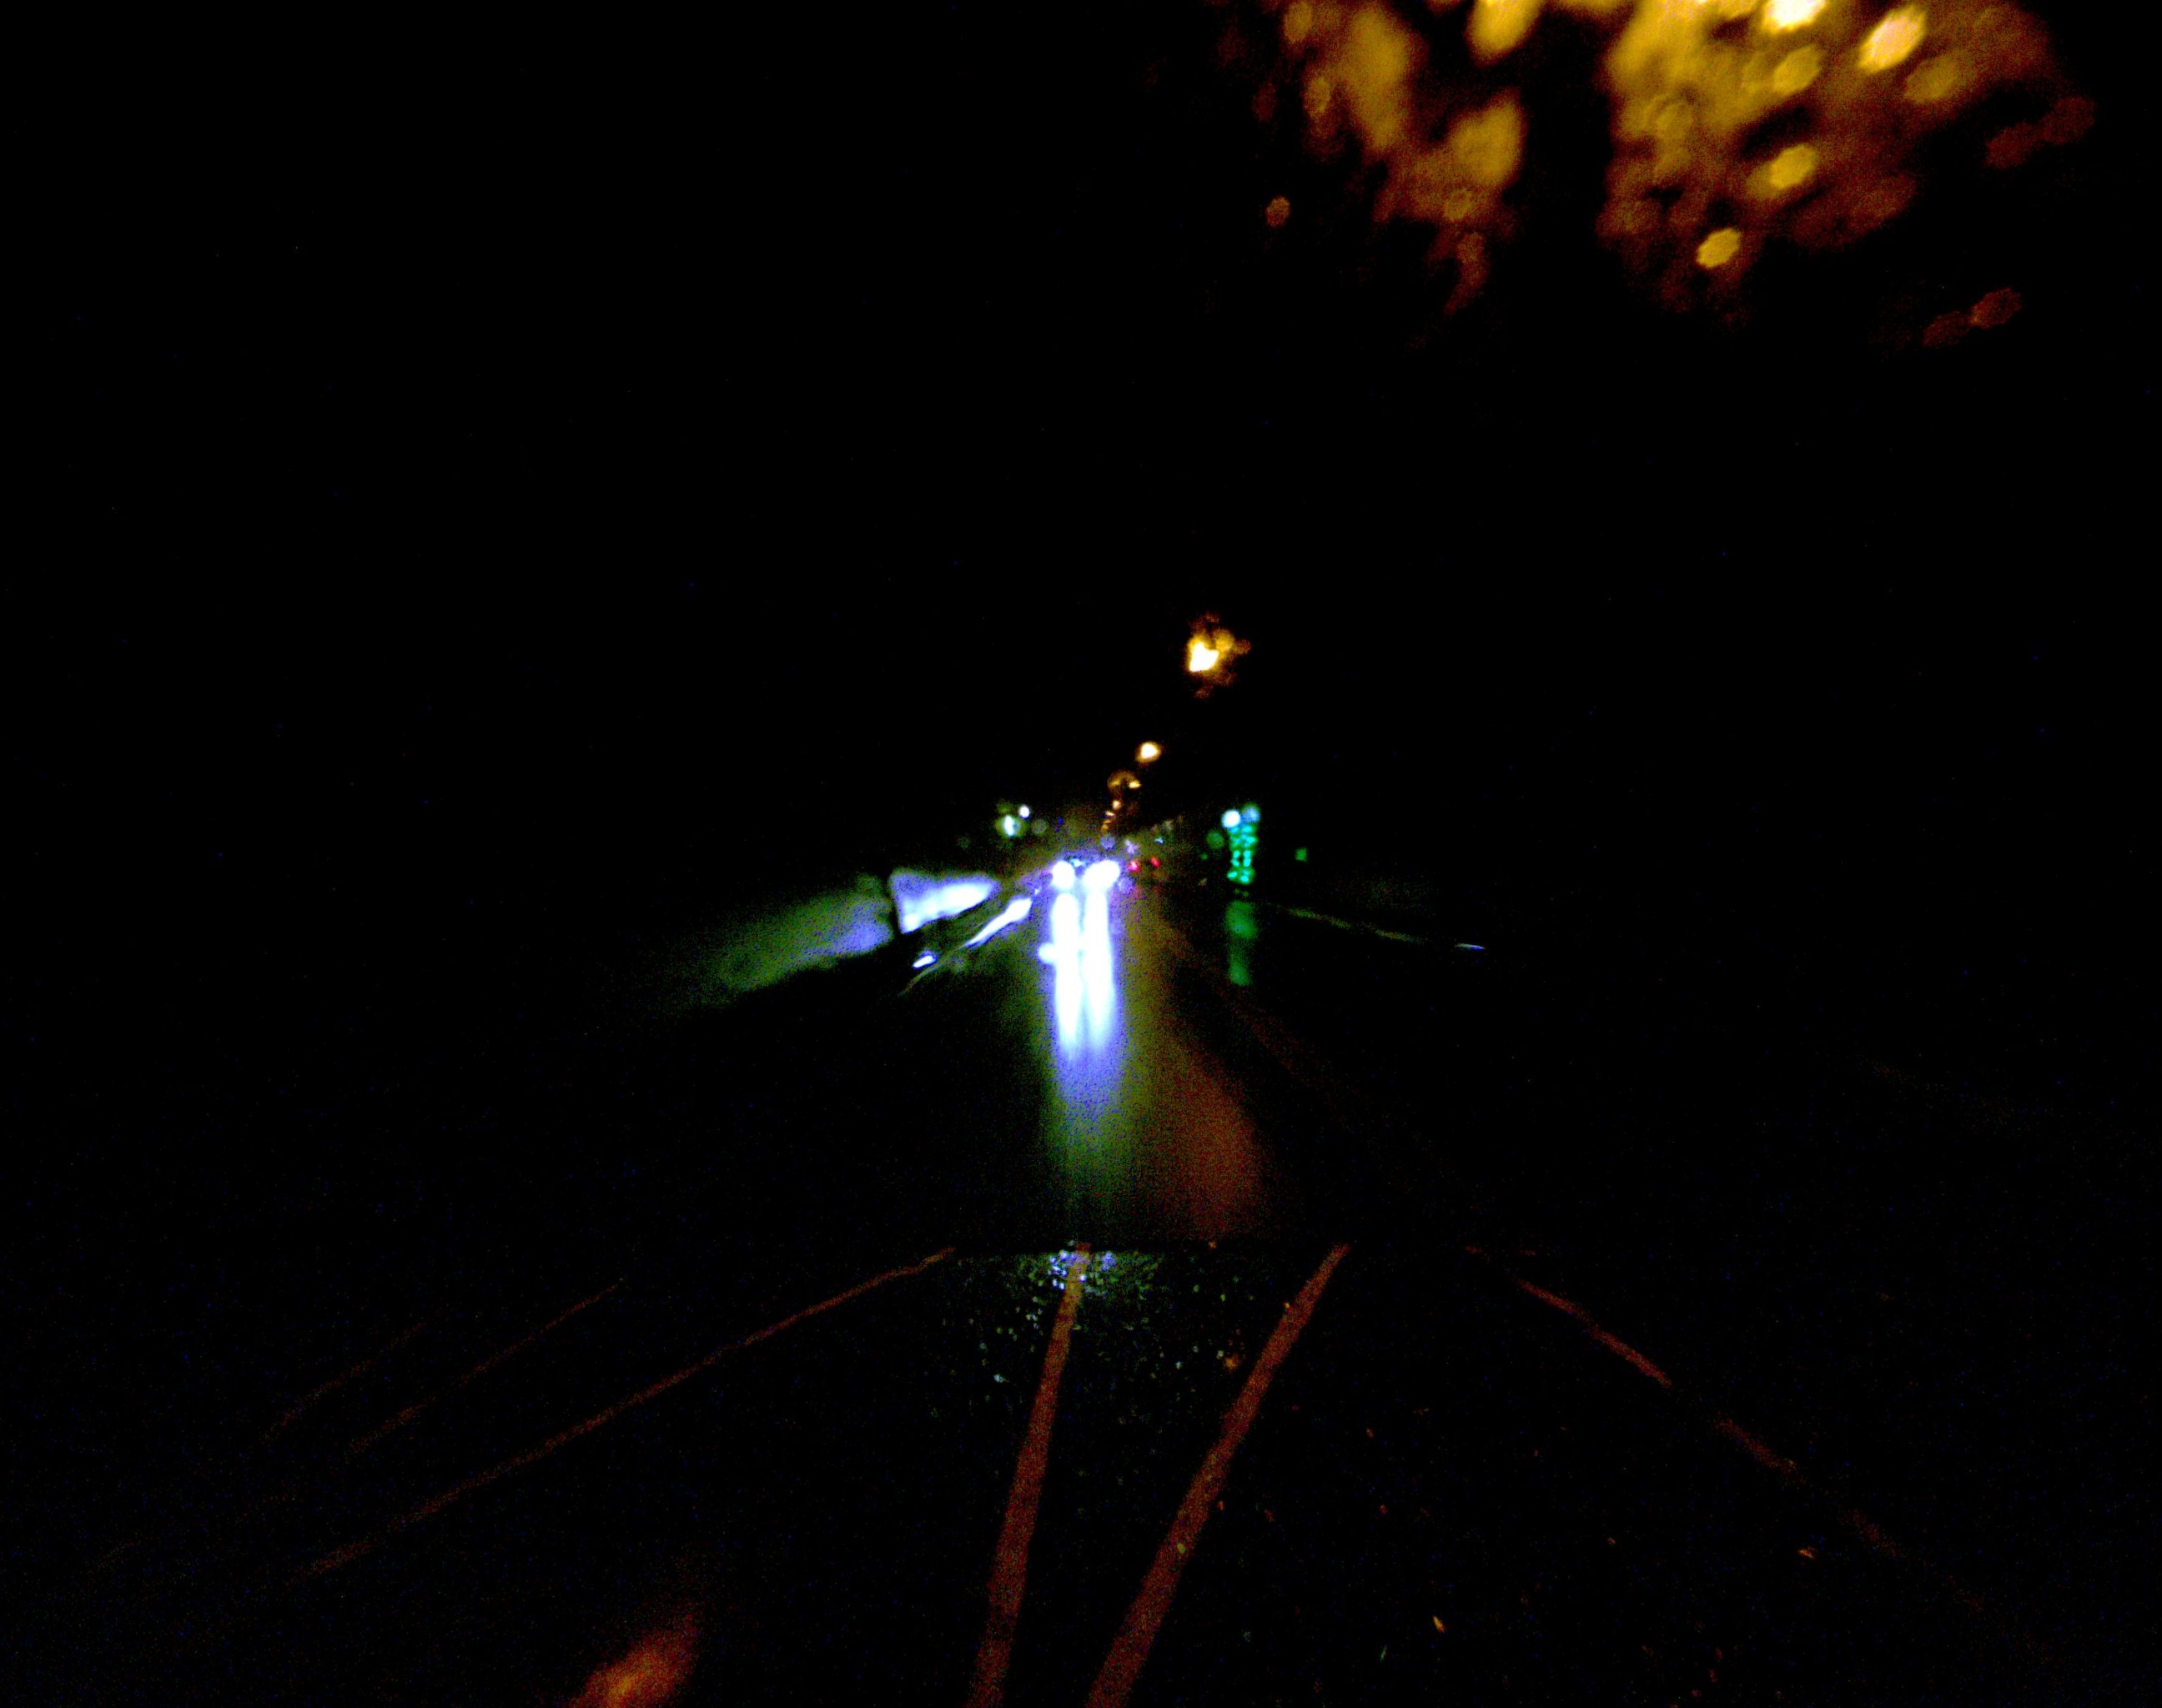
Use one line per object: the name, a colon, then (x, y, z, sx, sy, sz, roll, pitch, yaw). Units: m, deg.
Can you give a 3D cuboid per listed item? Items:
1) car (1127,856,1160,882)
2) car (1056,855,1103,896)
car: (3.788, 0.910, 46.535, 1.695, 1.496, 3.744, -1, 0, 0)
car: (-0.019, 0.970, 35.842, 1.998, 1.547, 3.999, -4, 2, 1)
